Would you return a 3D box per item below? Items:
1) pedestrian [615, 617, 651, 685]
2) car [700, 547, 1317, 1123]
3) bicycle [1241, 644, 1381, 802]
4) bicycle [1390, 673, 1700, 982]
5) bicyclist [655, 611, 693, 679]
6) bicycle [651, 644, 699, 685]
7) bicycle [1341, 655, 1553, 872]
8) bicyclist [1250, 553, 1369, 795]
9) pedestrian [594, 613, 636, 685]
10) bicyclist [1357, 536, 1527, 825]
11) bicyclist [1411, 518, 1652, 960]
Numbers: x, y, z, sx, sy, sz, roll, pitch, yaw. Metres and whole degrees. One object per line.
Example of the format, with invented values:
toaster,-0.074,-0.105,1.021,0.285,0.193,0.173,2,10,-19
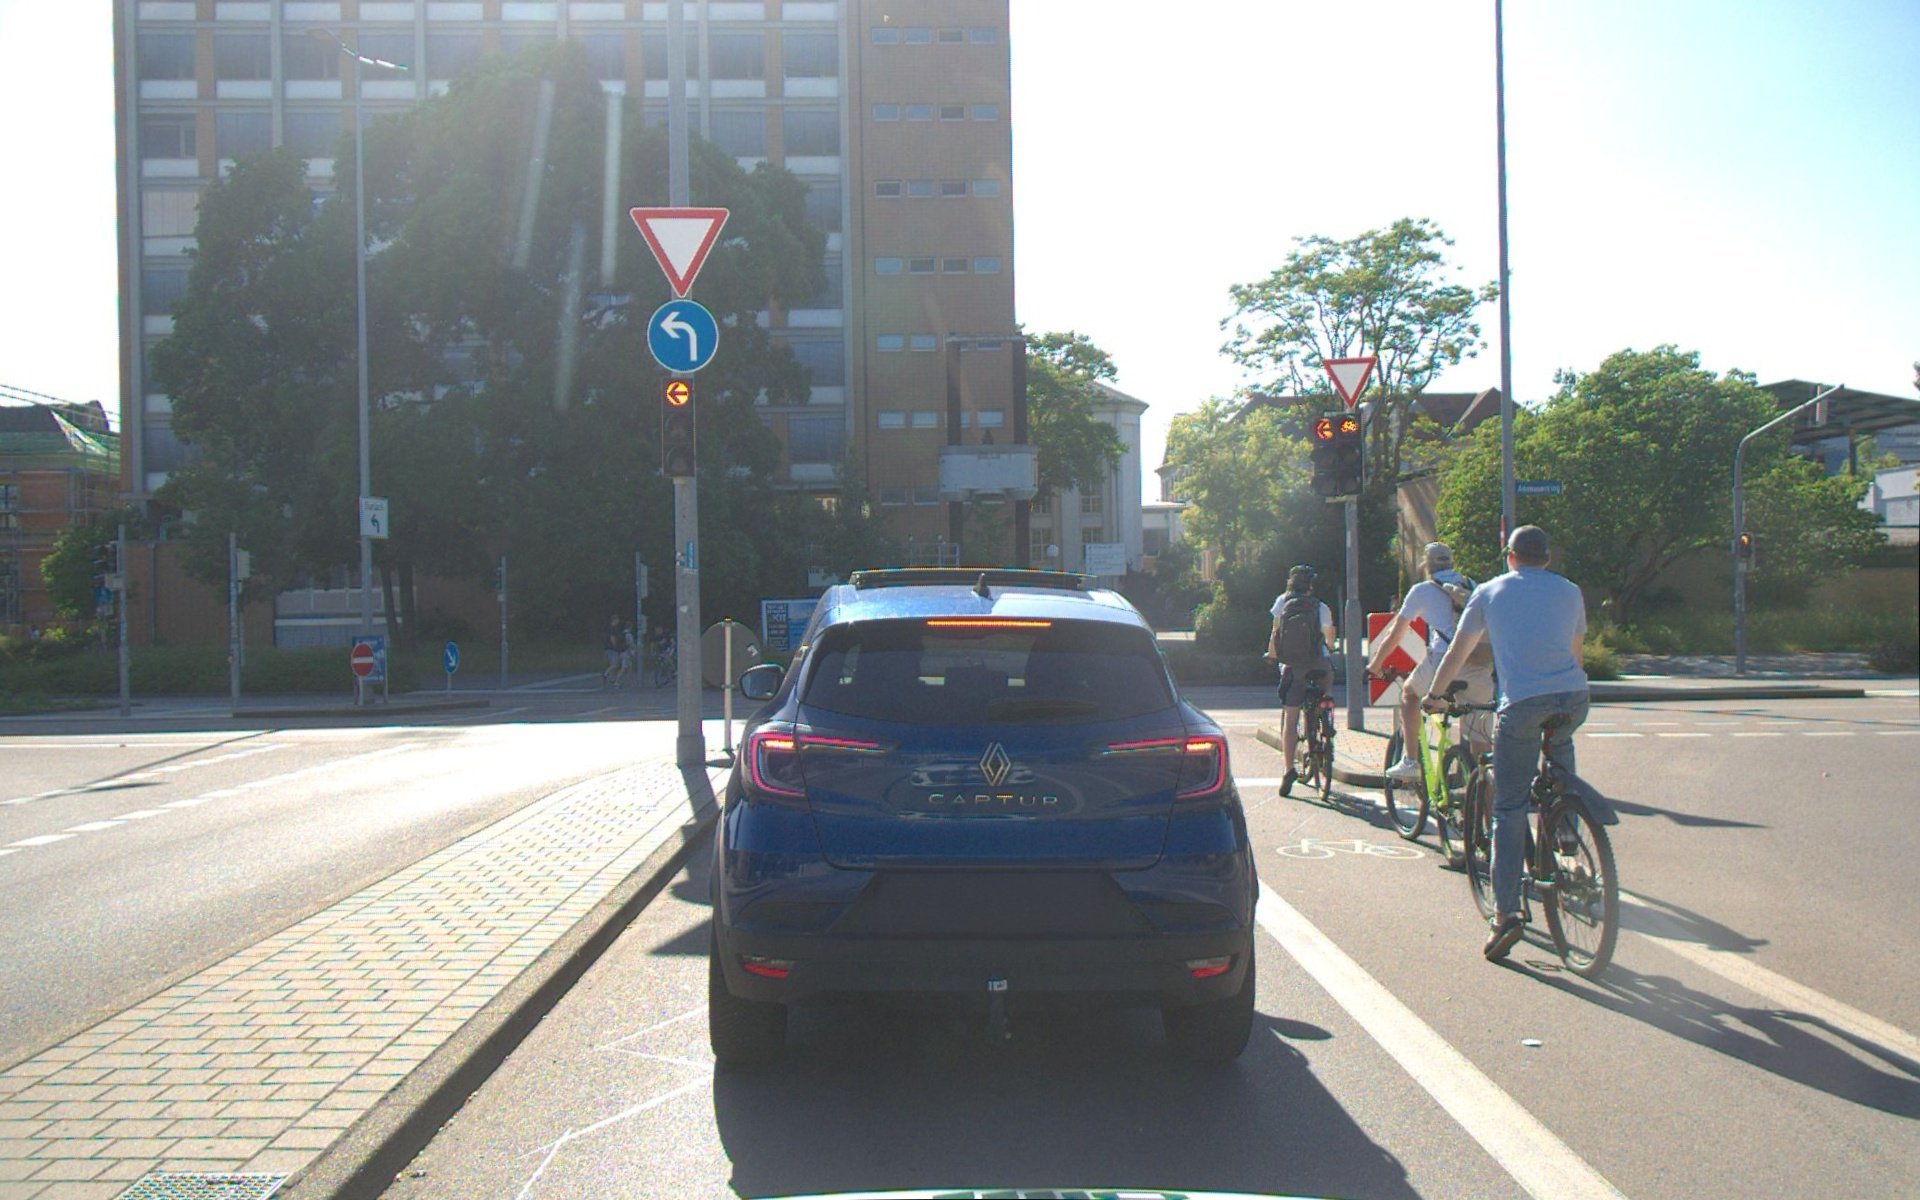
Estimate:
pedestrian,-8.676,1.355,43.920,0.666,1.761,0.761,-1,0,13
car,0.058,0.663,6.641,1.753,1.613,3.912,0,0,-3
bicycle,2.728,0.923,13.047,0.675,1.108,1.922,0,0,-1
bicycle,2.514,0.920,7.356,0.675,1.108,1.922,0,0,-1
bicyclist,-7.548,1.173,43.663,0.739,1.746,0.999,-1,0,5
bicycle,-7.529,1.698,43.766,0.739,1.002,2.095,-1,0,5
bicycle,2.847,0.910,9.874,0.675,1.108,1.922,0,0,-1
bicyclist,2.733,0.561,13.038,0.685,1.822,1.142,0,0,-1
pedestrian,-9.325,1.321,44.731,0.796,1.895,0.910,-1,0,13
bicyclist,2.846,0.450,9.862,0.664,1.622,1.142,0,0,-1
bicyclist,2.517,0.572,7.403,0.669,1.822,1.142,0,0,-1
